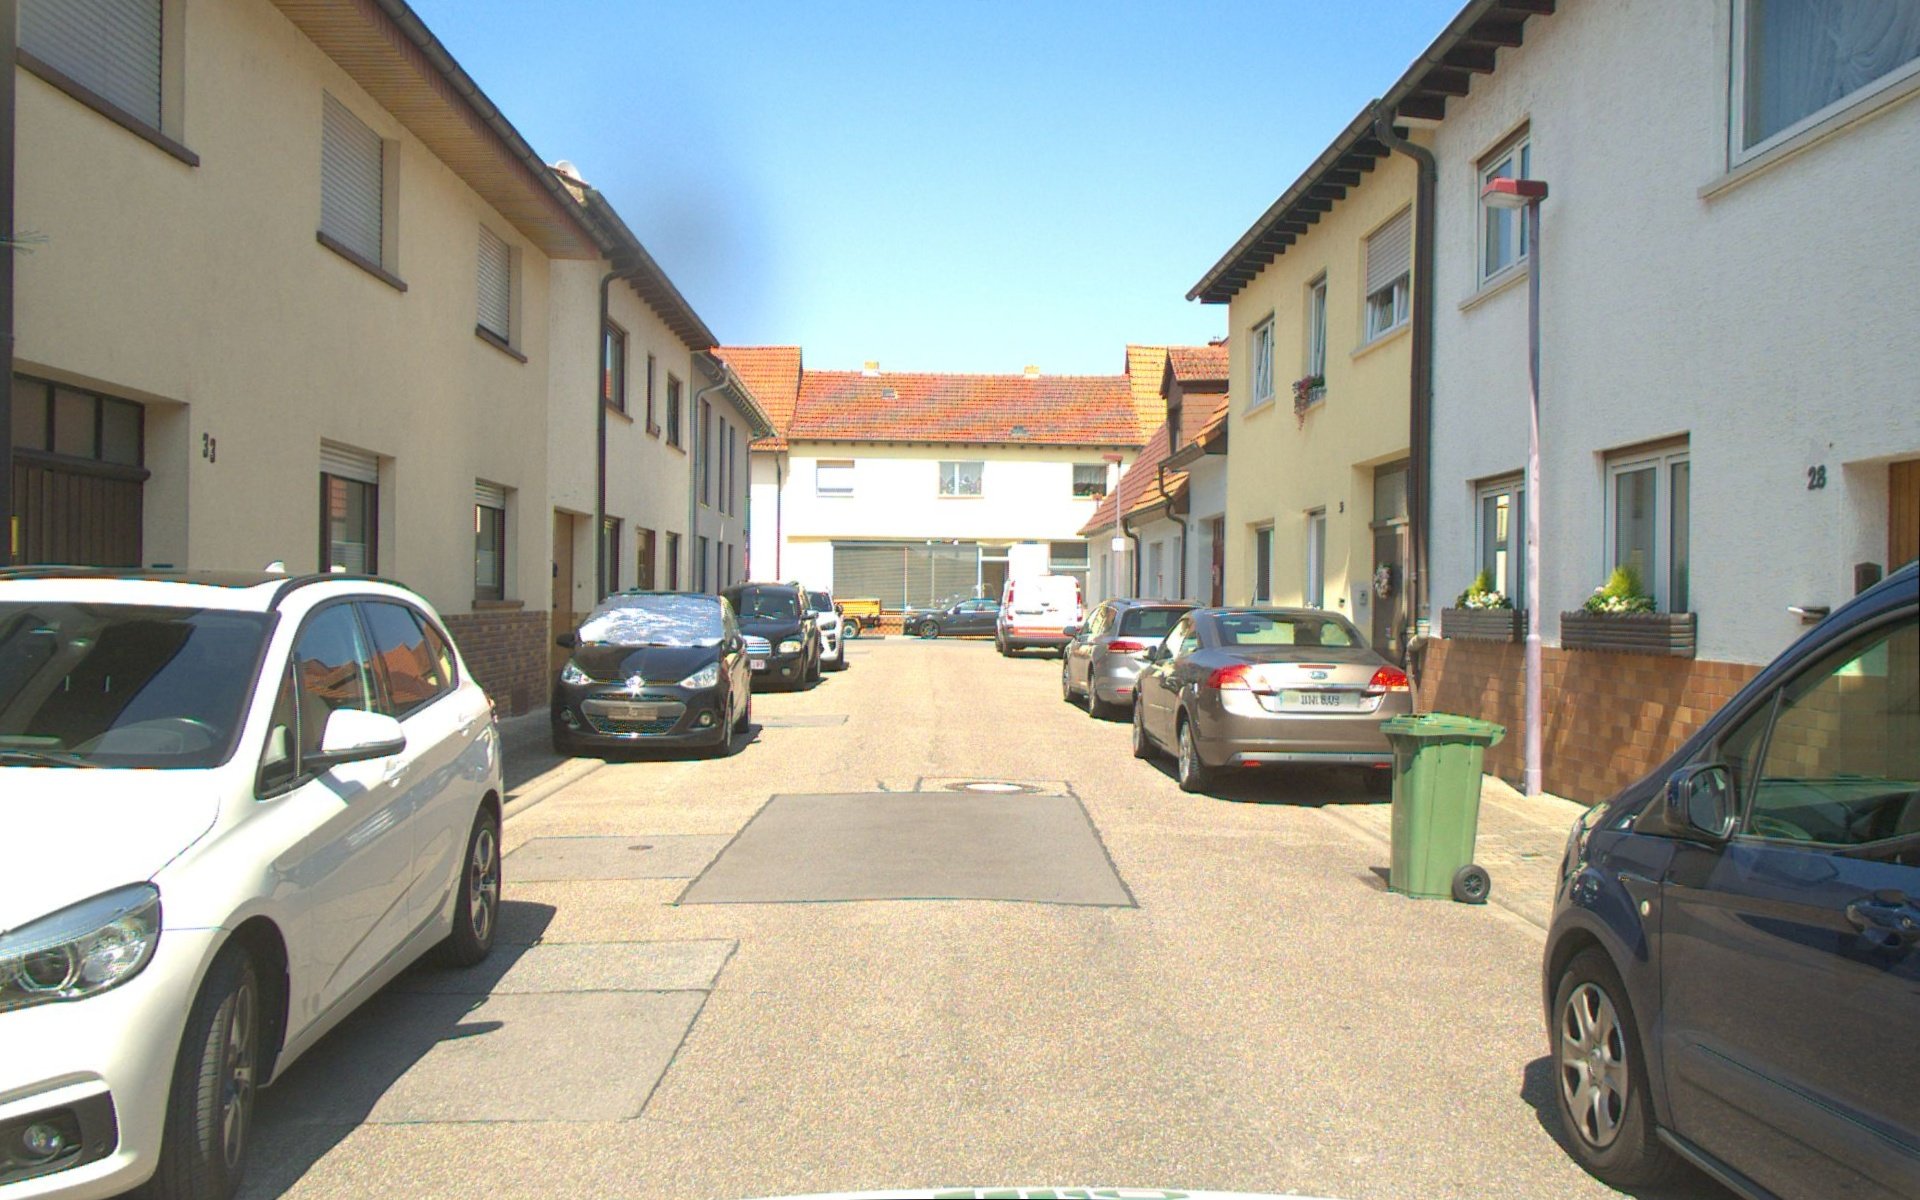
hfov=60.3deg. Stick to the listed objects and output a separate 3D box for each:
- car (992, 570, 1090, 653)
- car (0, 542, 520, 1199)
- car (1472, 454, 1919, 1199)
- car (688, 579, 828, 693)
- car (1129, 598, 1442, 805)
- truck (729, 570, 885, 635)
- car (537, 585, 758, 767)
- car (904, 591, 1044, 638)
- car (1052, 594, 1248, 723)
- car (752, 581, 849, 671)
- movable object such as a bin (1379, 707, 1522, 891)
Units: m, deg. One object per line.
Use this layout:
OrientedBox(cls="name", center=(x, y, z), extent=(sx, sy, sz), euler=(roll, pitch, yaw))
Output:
OrientedBox(cls="car", center=(1.911, 0.258, 40.489), extent=(1.972, 1.871, 5.263), euler=(1, 0, -2))
OrientedBox(cls="car", center=(-2.581, 0.681, 5.105), extent=(1.630, 1.576, 3.939), euler=(-1, 0, -4))
OrientedBox(cls="car", center=(2.584, 0.654, 3.255), extent=(1.663, 1.808, 4.197), euler=(1, 0, -3))
OrientedBox(cls="car", center=(-3.106, 0.516, 26.114), extent=(1.687, 1.643, 3.989), euler=(-1, 0, 0))
OrientedBox(cls="car", center=(2.575, 0.739, 14.049), extent=(1.663, 1.460, 4.101), euler=(1, 0, -3))
OrientedBox(cls="truck", center=(-5.007, 0.082, 54.687), extent=(4.961, 2.049, 2.189), euler=(1, -1, -2))
OrientedBox(cls="car", center=(-2.964, 0.658, 16.413), extent=(1.607, 1.564, 3.940), euler=(-1, 0, -3))
OrientedBox(cls="car", center=(0.442, 0.491, 54.746), extent=(4.524, 1.419, 1.926), euler=(1, -3, -3))
OrientedBox(cls="car", center=(2.368, 0.679, 21.802), extent=(1.802, 1.473, 4.773), euler=(1, 0, -3))
OrientedBox(cls="car", center=(-3.083, 0.475, 32.673), extent=(1.739, 1.643, 4.345), euler=(-1, 0, -4))
OrientedBox(cls="movable object such as a bin", center=(2.598, 1.039, 8.794), extent=(0.539, 0.907, 0.578), euler=(1, 0, -8))
